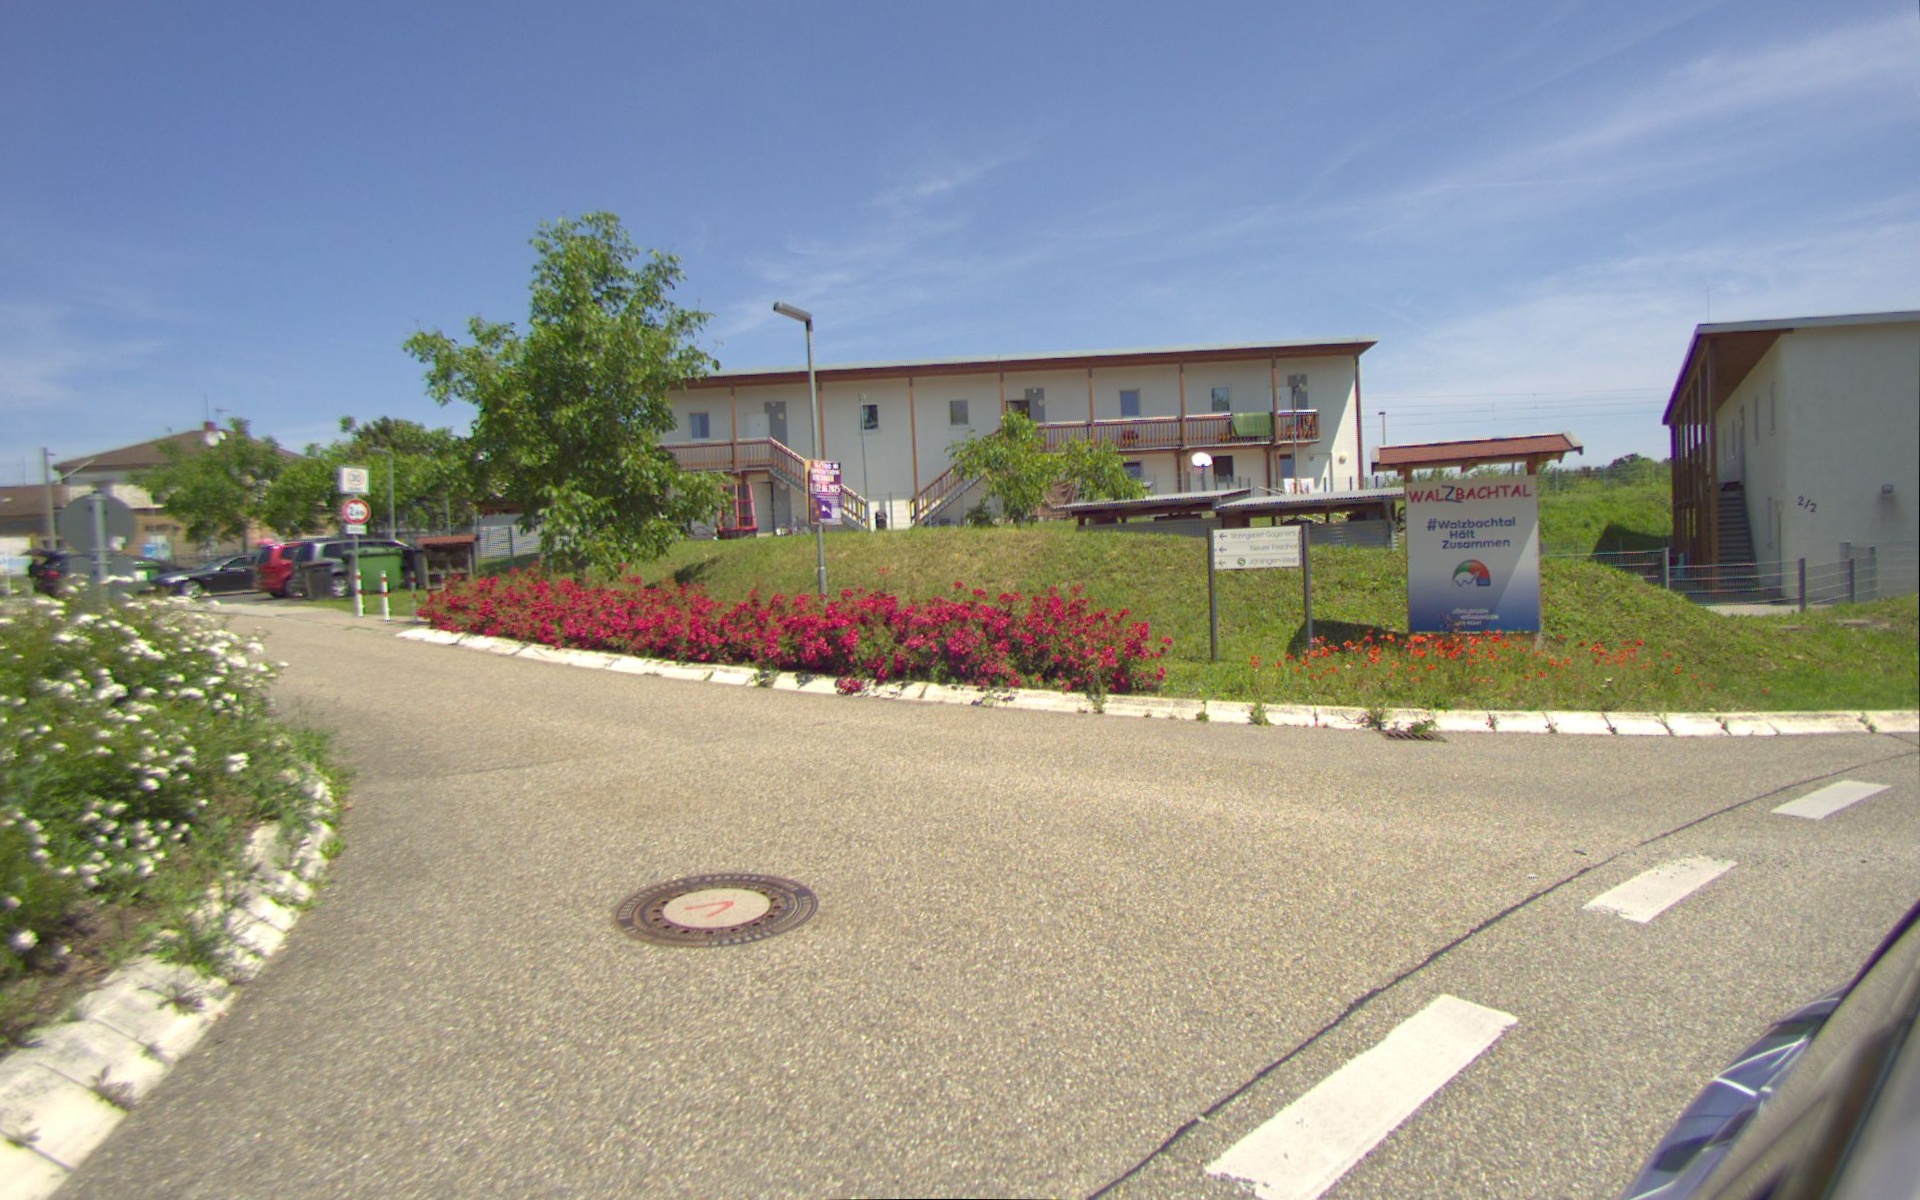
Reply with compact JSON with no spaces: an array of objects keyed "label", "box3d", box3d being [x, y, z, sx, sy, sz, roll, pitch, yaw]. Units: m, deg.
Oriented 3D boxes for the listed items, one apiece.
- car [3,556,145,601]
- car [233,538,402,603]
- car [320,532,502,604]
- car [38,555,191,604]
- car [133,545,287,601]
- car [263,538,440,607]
[{"label":"car","box3d":[-36.219,-0.892,41.463,1.856,1.598,3.959,-1,3,31]},{"label":"car","box3d":[-19.660,-0.945,31.105,1.861,1.772,3.948,0,4,38]},{"label":"car","box3d":[-15.050,-0.908,27.918,1.861,1.772,3.948,0,4,38]},{"label":"car","box3d":[-31.541,-0.801,37.868,1.856,1.598,3.959,-1,3,31]},{"label":"car","box3d":[-26.342,-0.981,35.667,1.861,1.772,3.948,0,4,38]},{"label":"car","box3d":[-17.668,-0.840,29.525,1.861,1.772,3.948,0,4,38]}]
